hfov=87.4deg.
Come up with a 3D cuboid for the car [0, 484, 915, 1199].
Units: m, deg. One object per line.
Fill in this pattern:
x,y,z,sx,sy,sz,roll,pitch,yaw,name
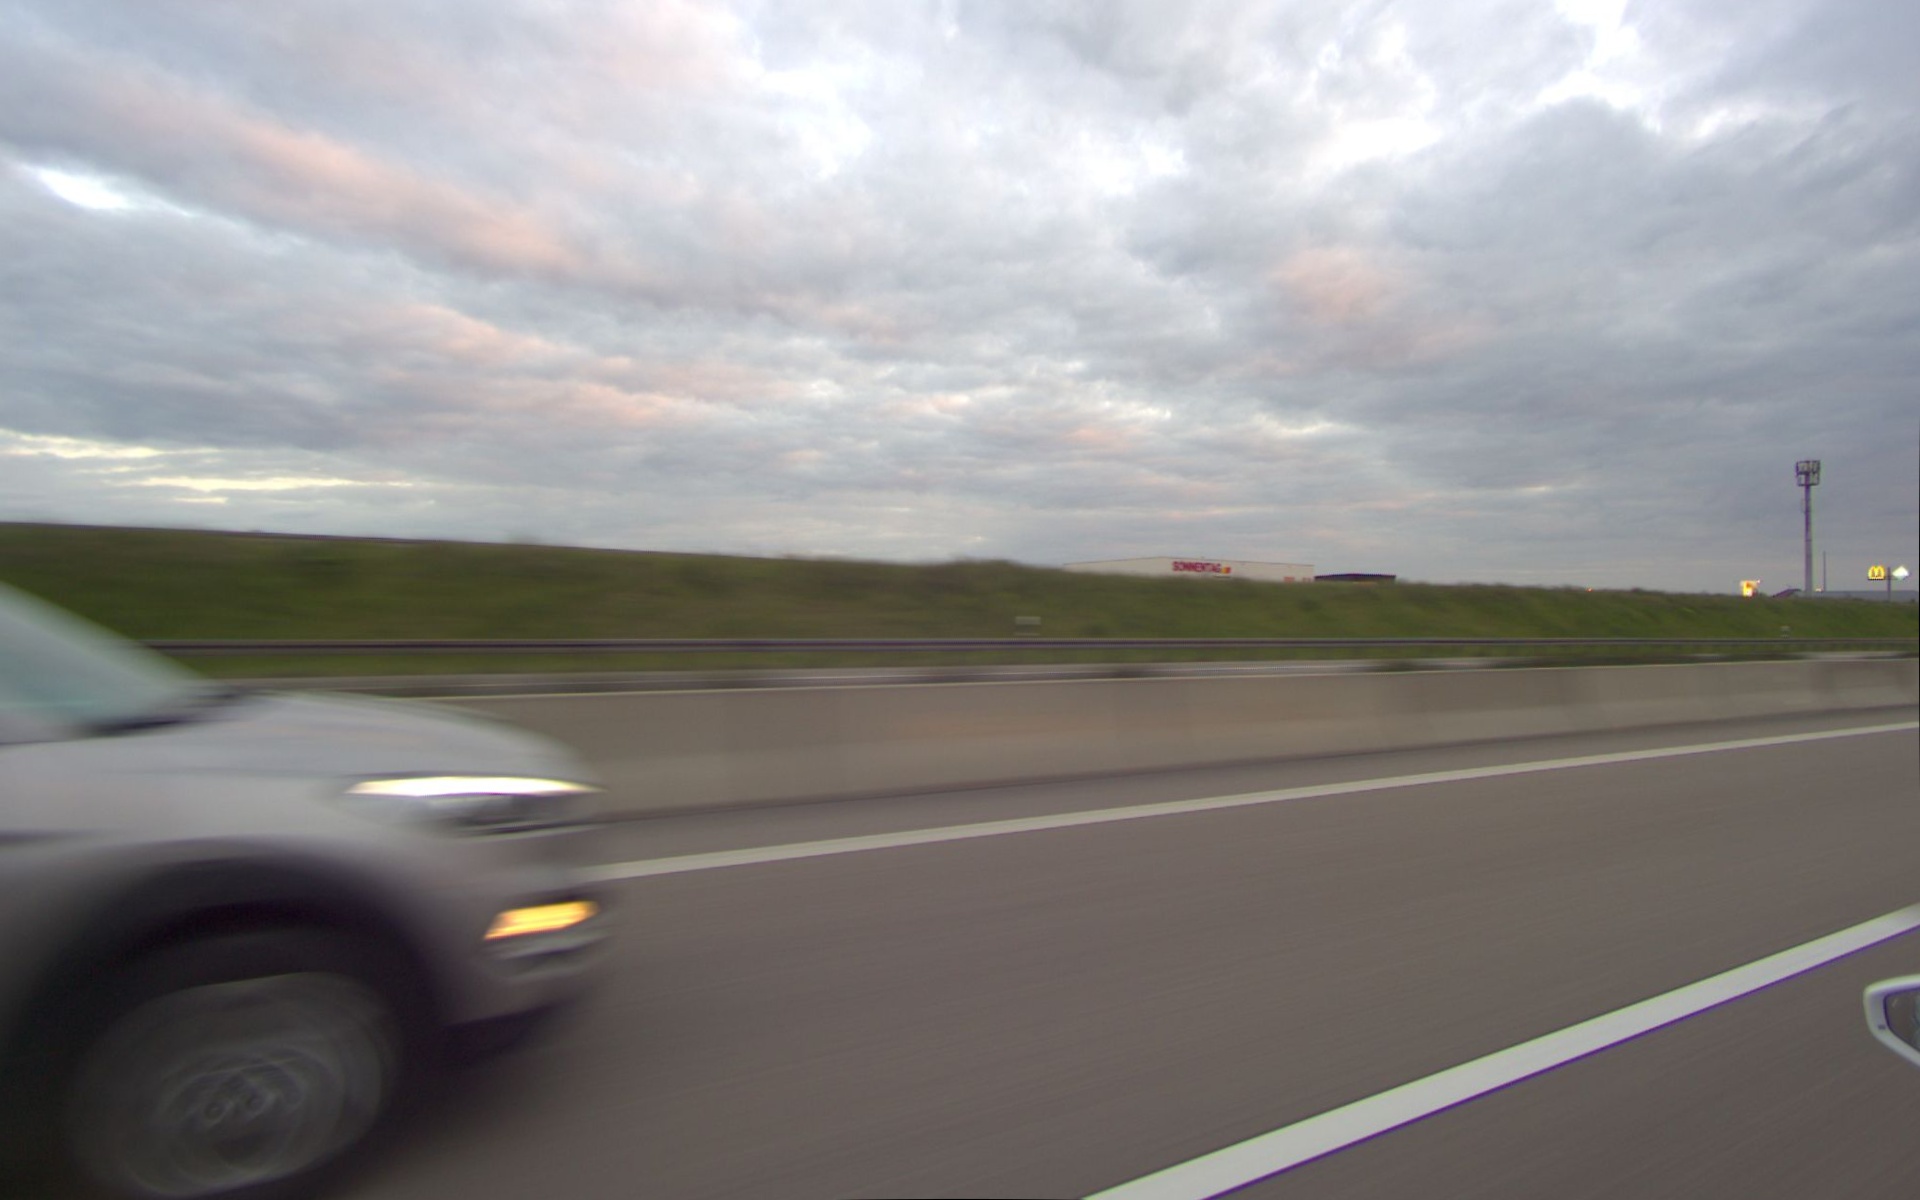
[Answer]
-2.952,0.614,2.504,5.447,1.715,1.844,1,-1,-30,car
